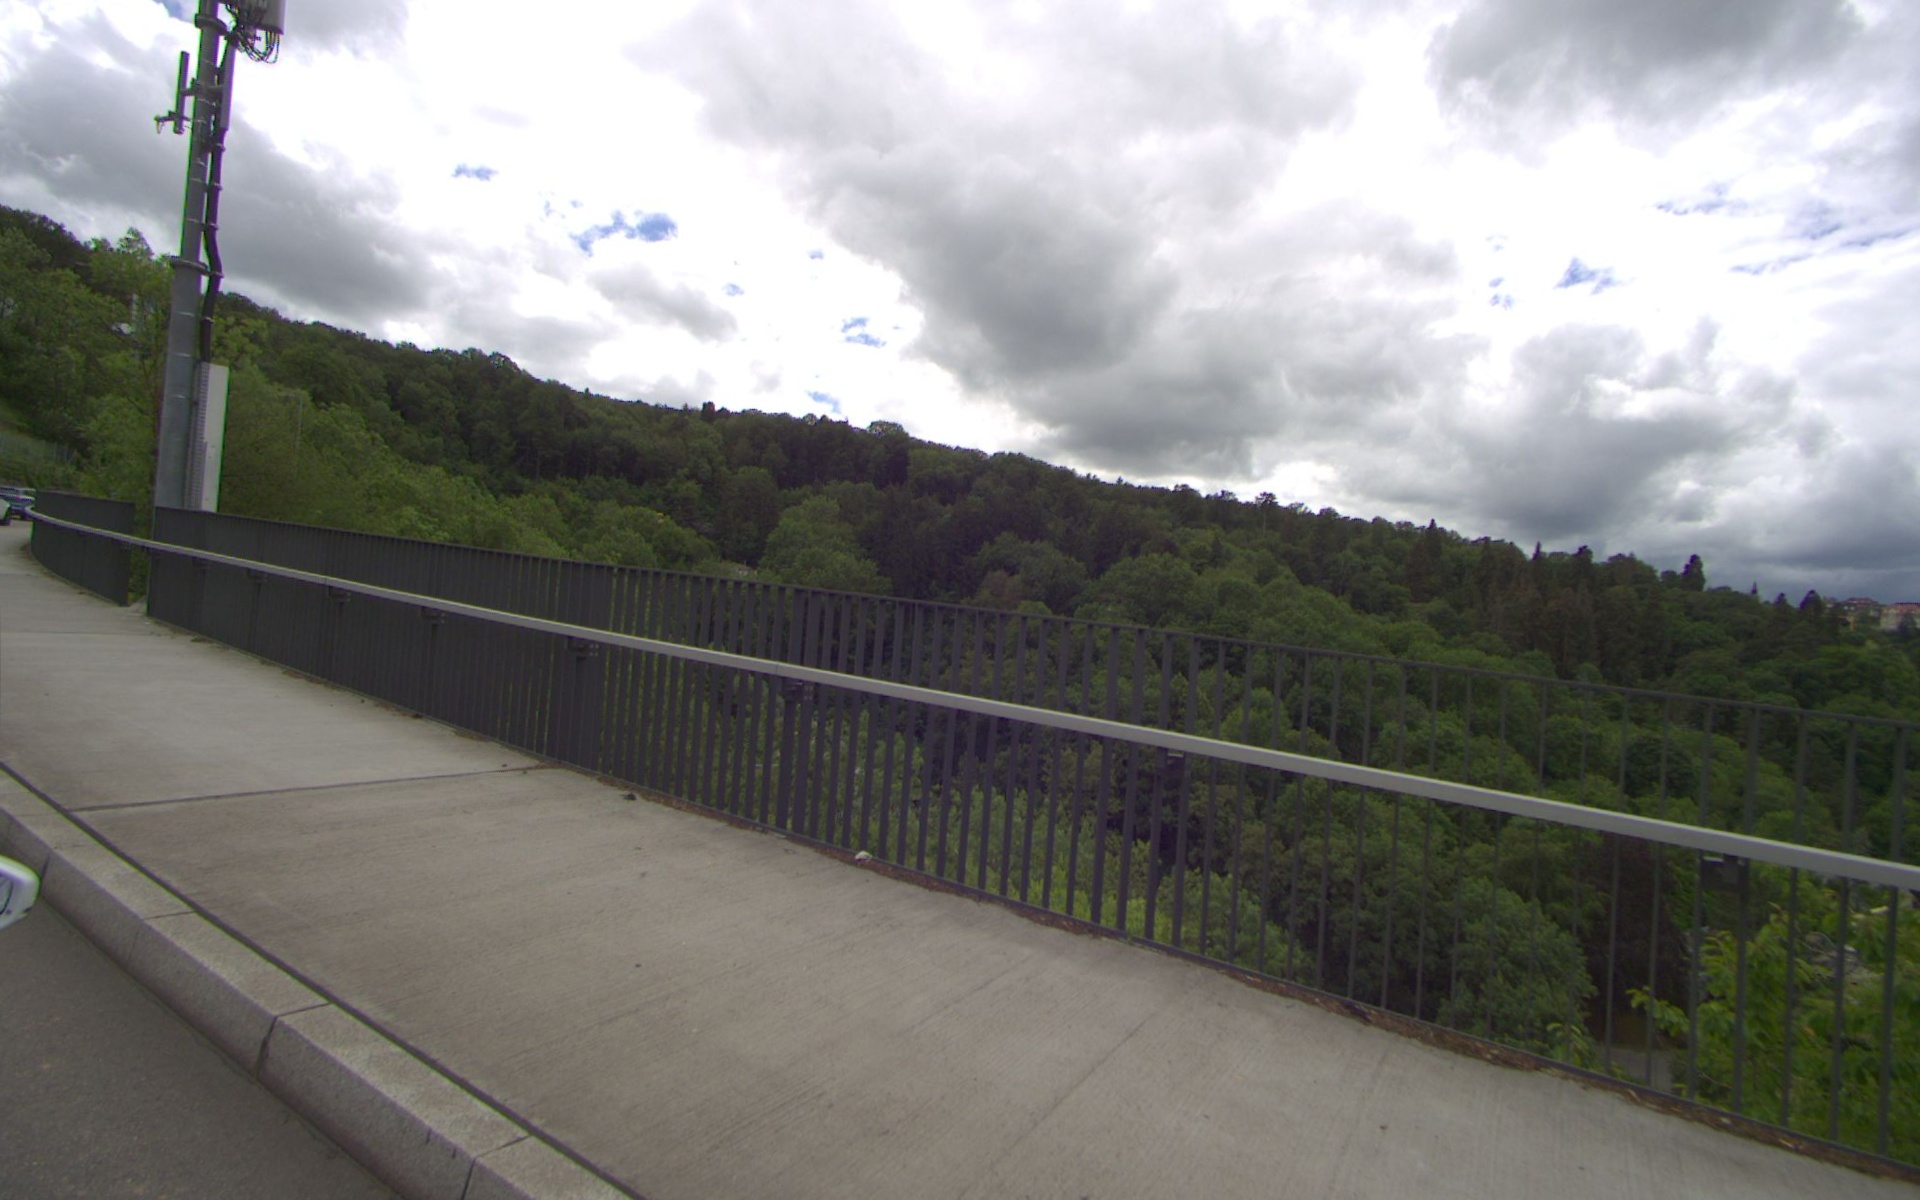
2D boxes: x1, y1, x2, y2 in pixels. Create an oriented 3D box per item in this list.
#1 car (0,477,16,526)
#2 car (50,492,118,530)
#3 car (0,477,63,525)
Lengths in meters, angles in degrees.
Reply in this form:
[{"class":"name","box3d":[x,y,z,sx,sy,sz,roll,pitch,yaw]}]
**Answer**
[{"class":"car","box3d":[-35.724,-3.648,36.020,1.979,1.740,4.079,4,1,-33]},{"class":"car","box3d":[-50.917,-5.143,58.543,1.977,1.737,3.972,8,-1,-28]},{"class":"car","box3d":[-45.316,-4.765,48.769,1.978,2.040,3.966,4,1,-32]}]
